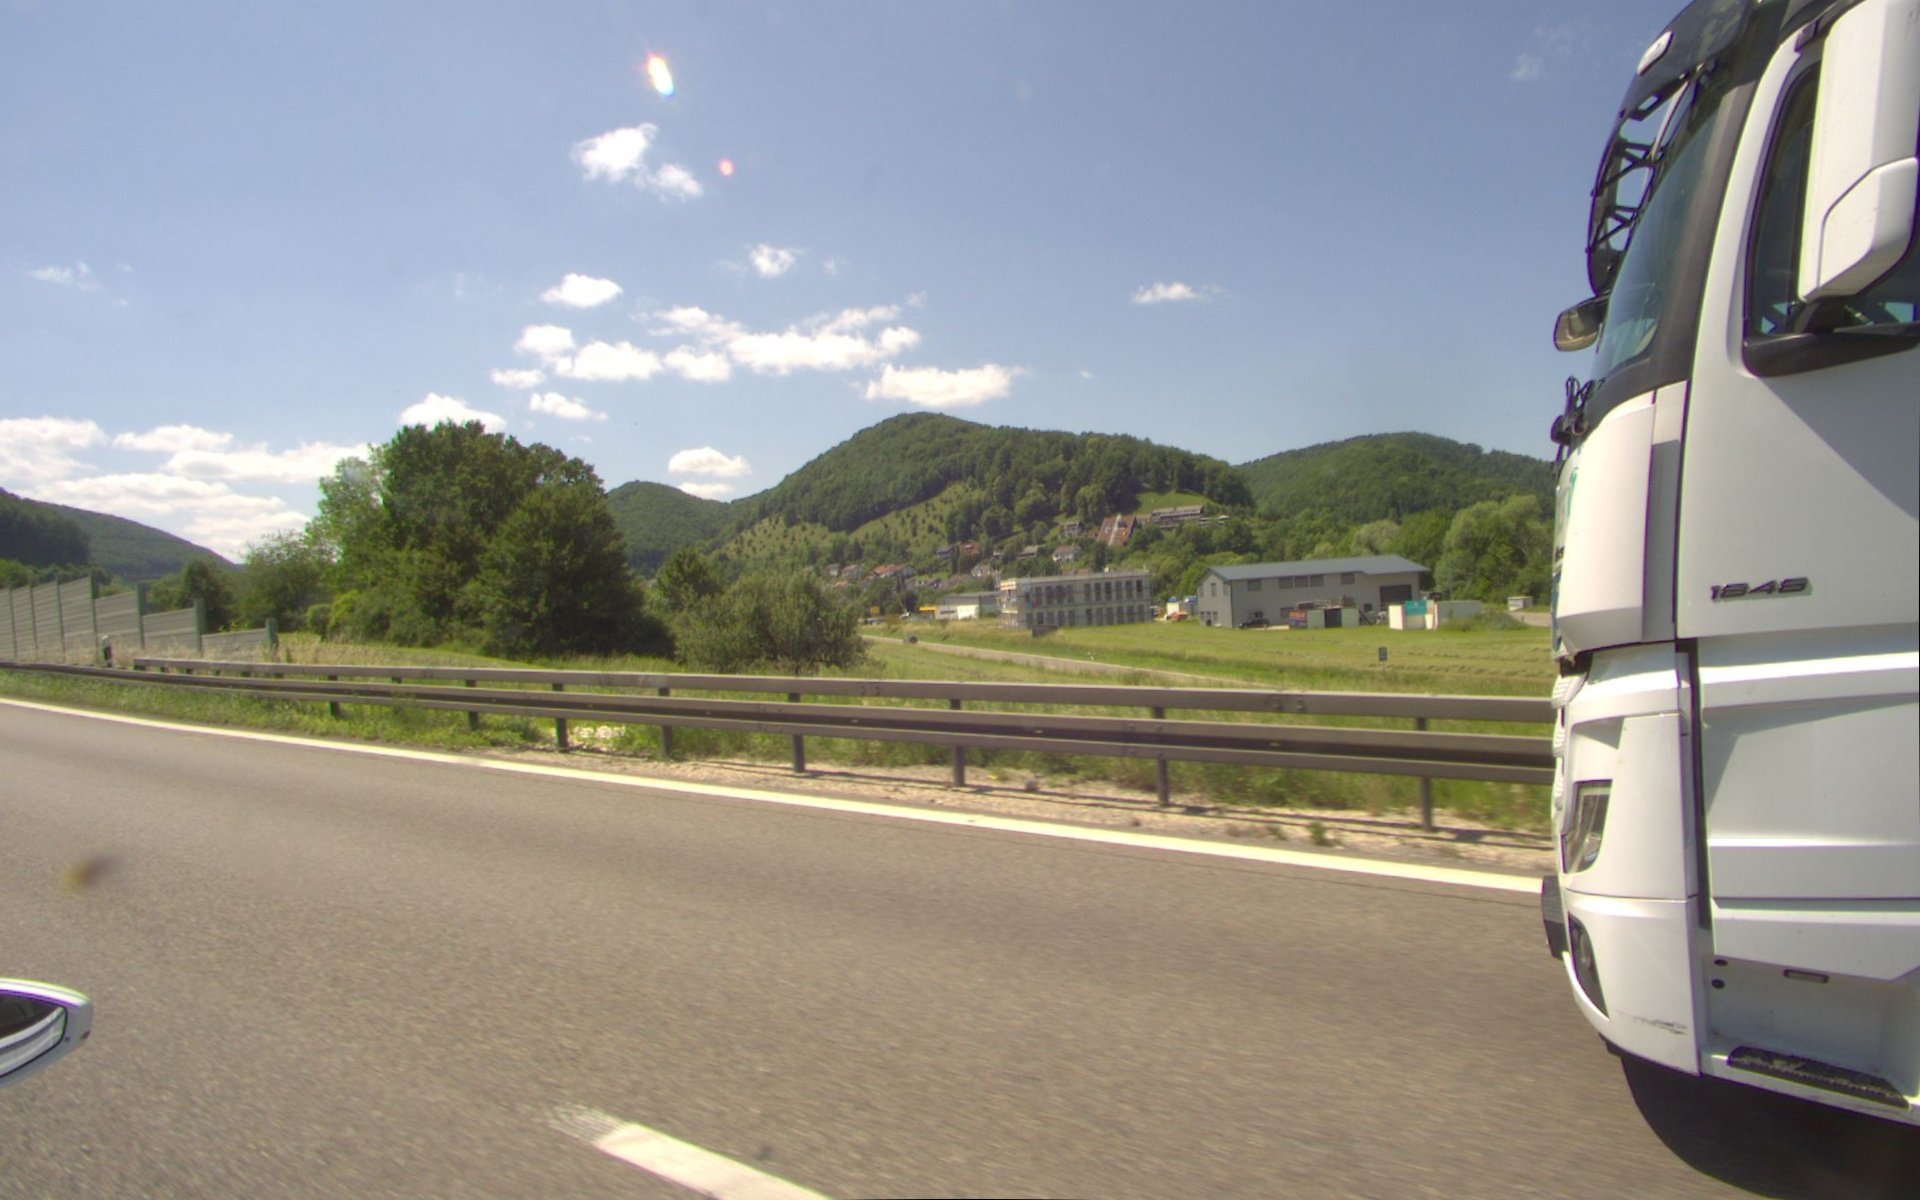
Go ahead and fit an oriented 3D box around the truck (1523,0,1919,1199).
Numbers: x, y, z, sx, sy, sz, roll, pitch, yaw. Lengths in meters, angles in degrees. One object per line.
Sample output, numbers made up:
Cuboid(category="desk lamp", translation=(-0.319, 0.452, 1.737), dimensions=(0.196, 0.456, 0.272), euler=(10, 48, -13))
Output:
Cuboid(category="truck", translation=(4.621, -0.593, 2.375), dimensions=(5.669, 4.120, 2.716), euler=(-1, -1, 30))
